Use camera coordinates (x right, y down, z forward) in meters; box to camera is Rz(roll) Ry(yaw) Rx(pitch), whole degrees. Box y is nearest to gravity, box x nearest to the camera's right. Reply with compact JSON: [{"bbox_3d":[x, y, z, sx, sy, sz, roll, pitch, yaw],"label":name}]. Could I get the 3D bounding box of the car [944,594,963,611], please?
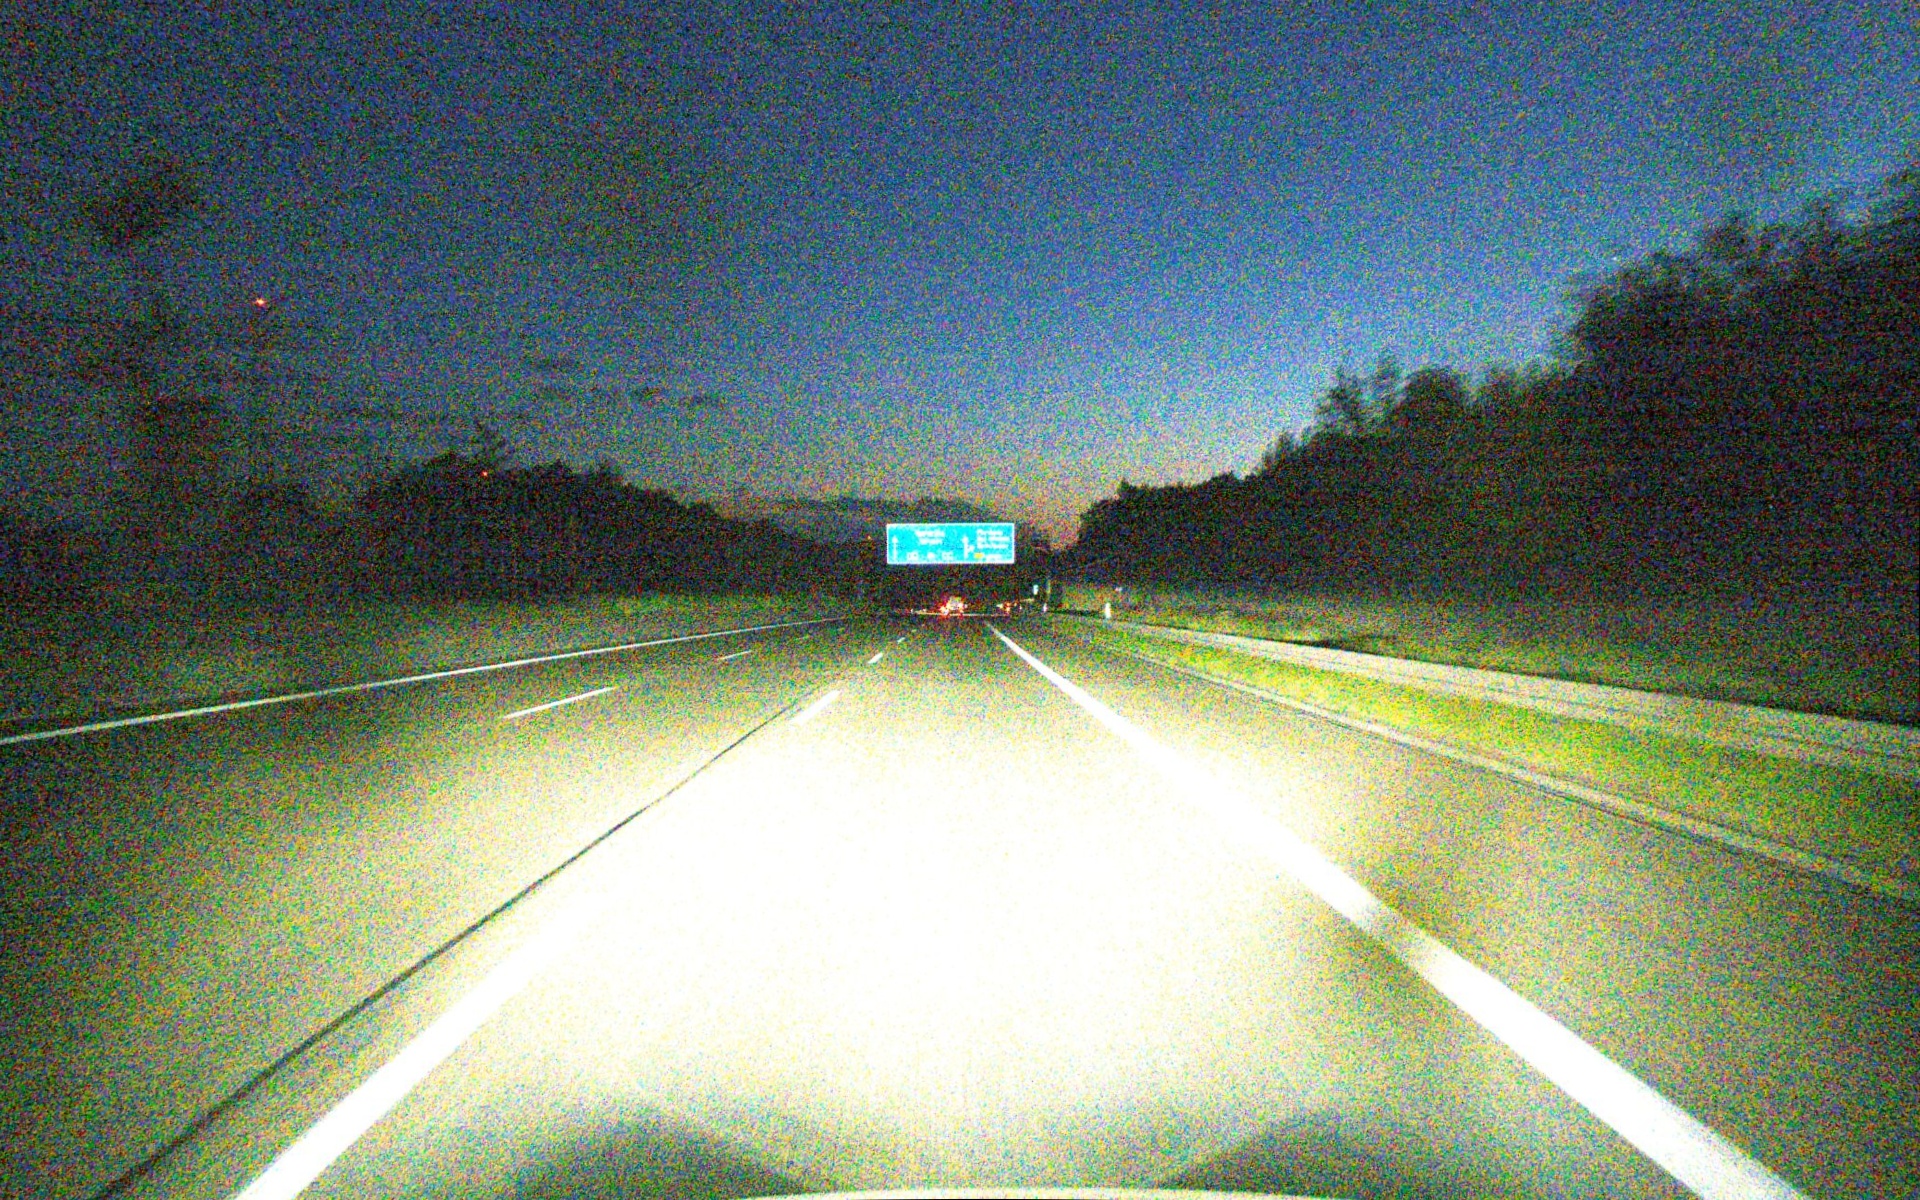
[{"bbox_3d":[-0.923,0.421,236.019,2.458,2.354,4.972,0,-1,3],"label":"car"}]
